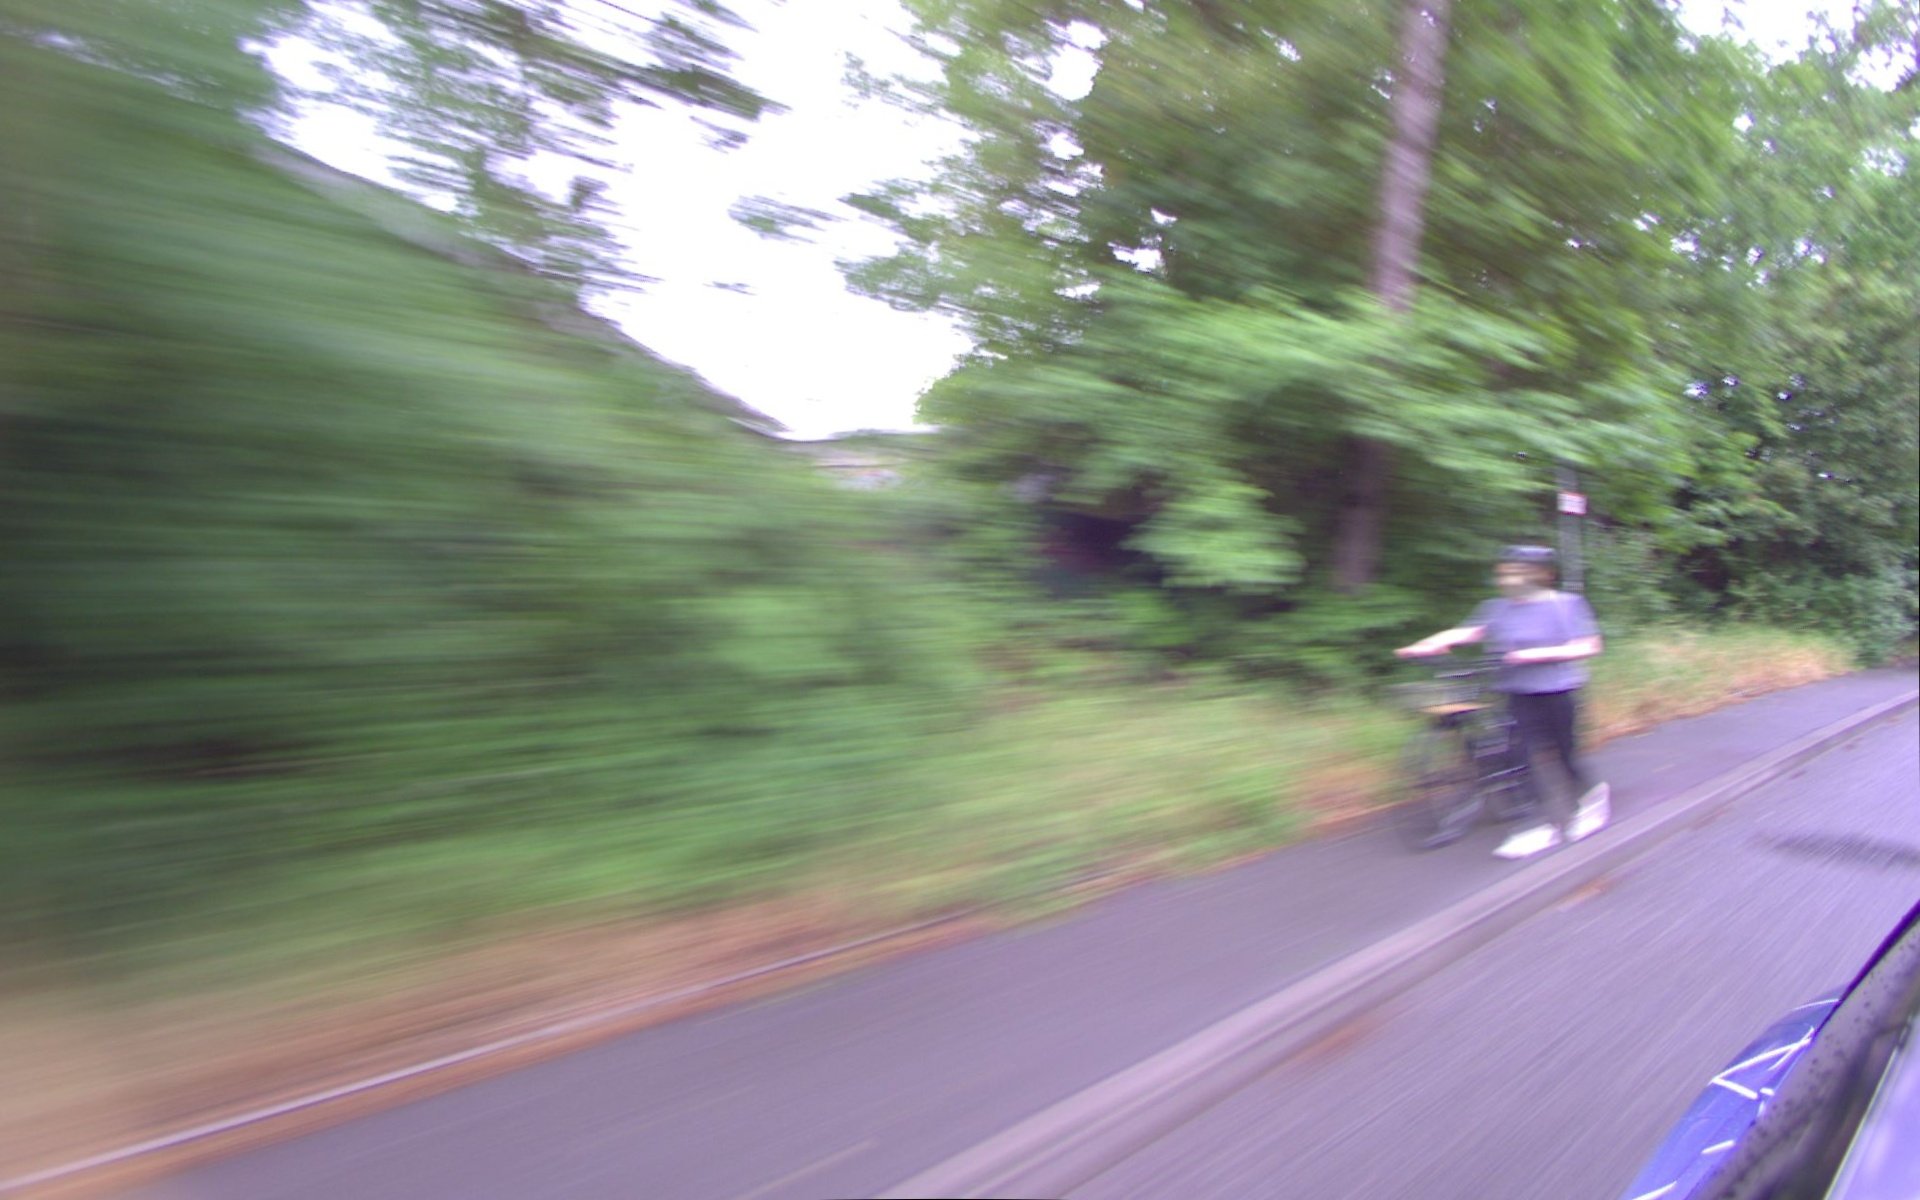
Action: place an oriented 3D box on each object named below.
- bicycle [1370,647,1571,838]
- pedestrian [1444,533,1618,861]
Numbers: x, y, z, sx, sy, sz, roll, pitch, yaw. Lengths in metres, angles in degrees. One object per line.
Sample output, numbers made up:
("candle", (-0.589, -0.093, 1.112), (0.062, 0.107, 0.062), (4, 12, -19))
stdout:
("bicycle", (2.970, 0.755, 5.808), (1.712, 0.859, 0.356), (-1, 3, -40))
("pedestrian", (3.059, 0.459, 5.412), (0.756, 1.596, 0.565), (-4, 3, -39))
